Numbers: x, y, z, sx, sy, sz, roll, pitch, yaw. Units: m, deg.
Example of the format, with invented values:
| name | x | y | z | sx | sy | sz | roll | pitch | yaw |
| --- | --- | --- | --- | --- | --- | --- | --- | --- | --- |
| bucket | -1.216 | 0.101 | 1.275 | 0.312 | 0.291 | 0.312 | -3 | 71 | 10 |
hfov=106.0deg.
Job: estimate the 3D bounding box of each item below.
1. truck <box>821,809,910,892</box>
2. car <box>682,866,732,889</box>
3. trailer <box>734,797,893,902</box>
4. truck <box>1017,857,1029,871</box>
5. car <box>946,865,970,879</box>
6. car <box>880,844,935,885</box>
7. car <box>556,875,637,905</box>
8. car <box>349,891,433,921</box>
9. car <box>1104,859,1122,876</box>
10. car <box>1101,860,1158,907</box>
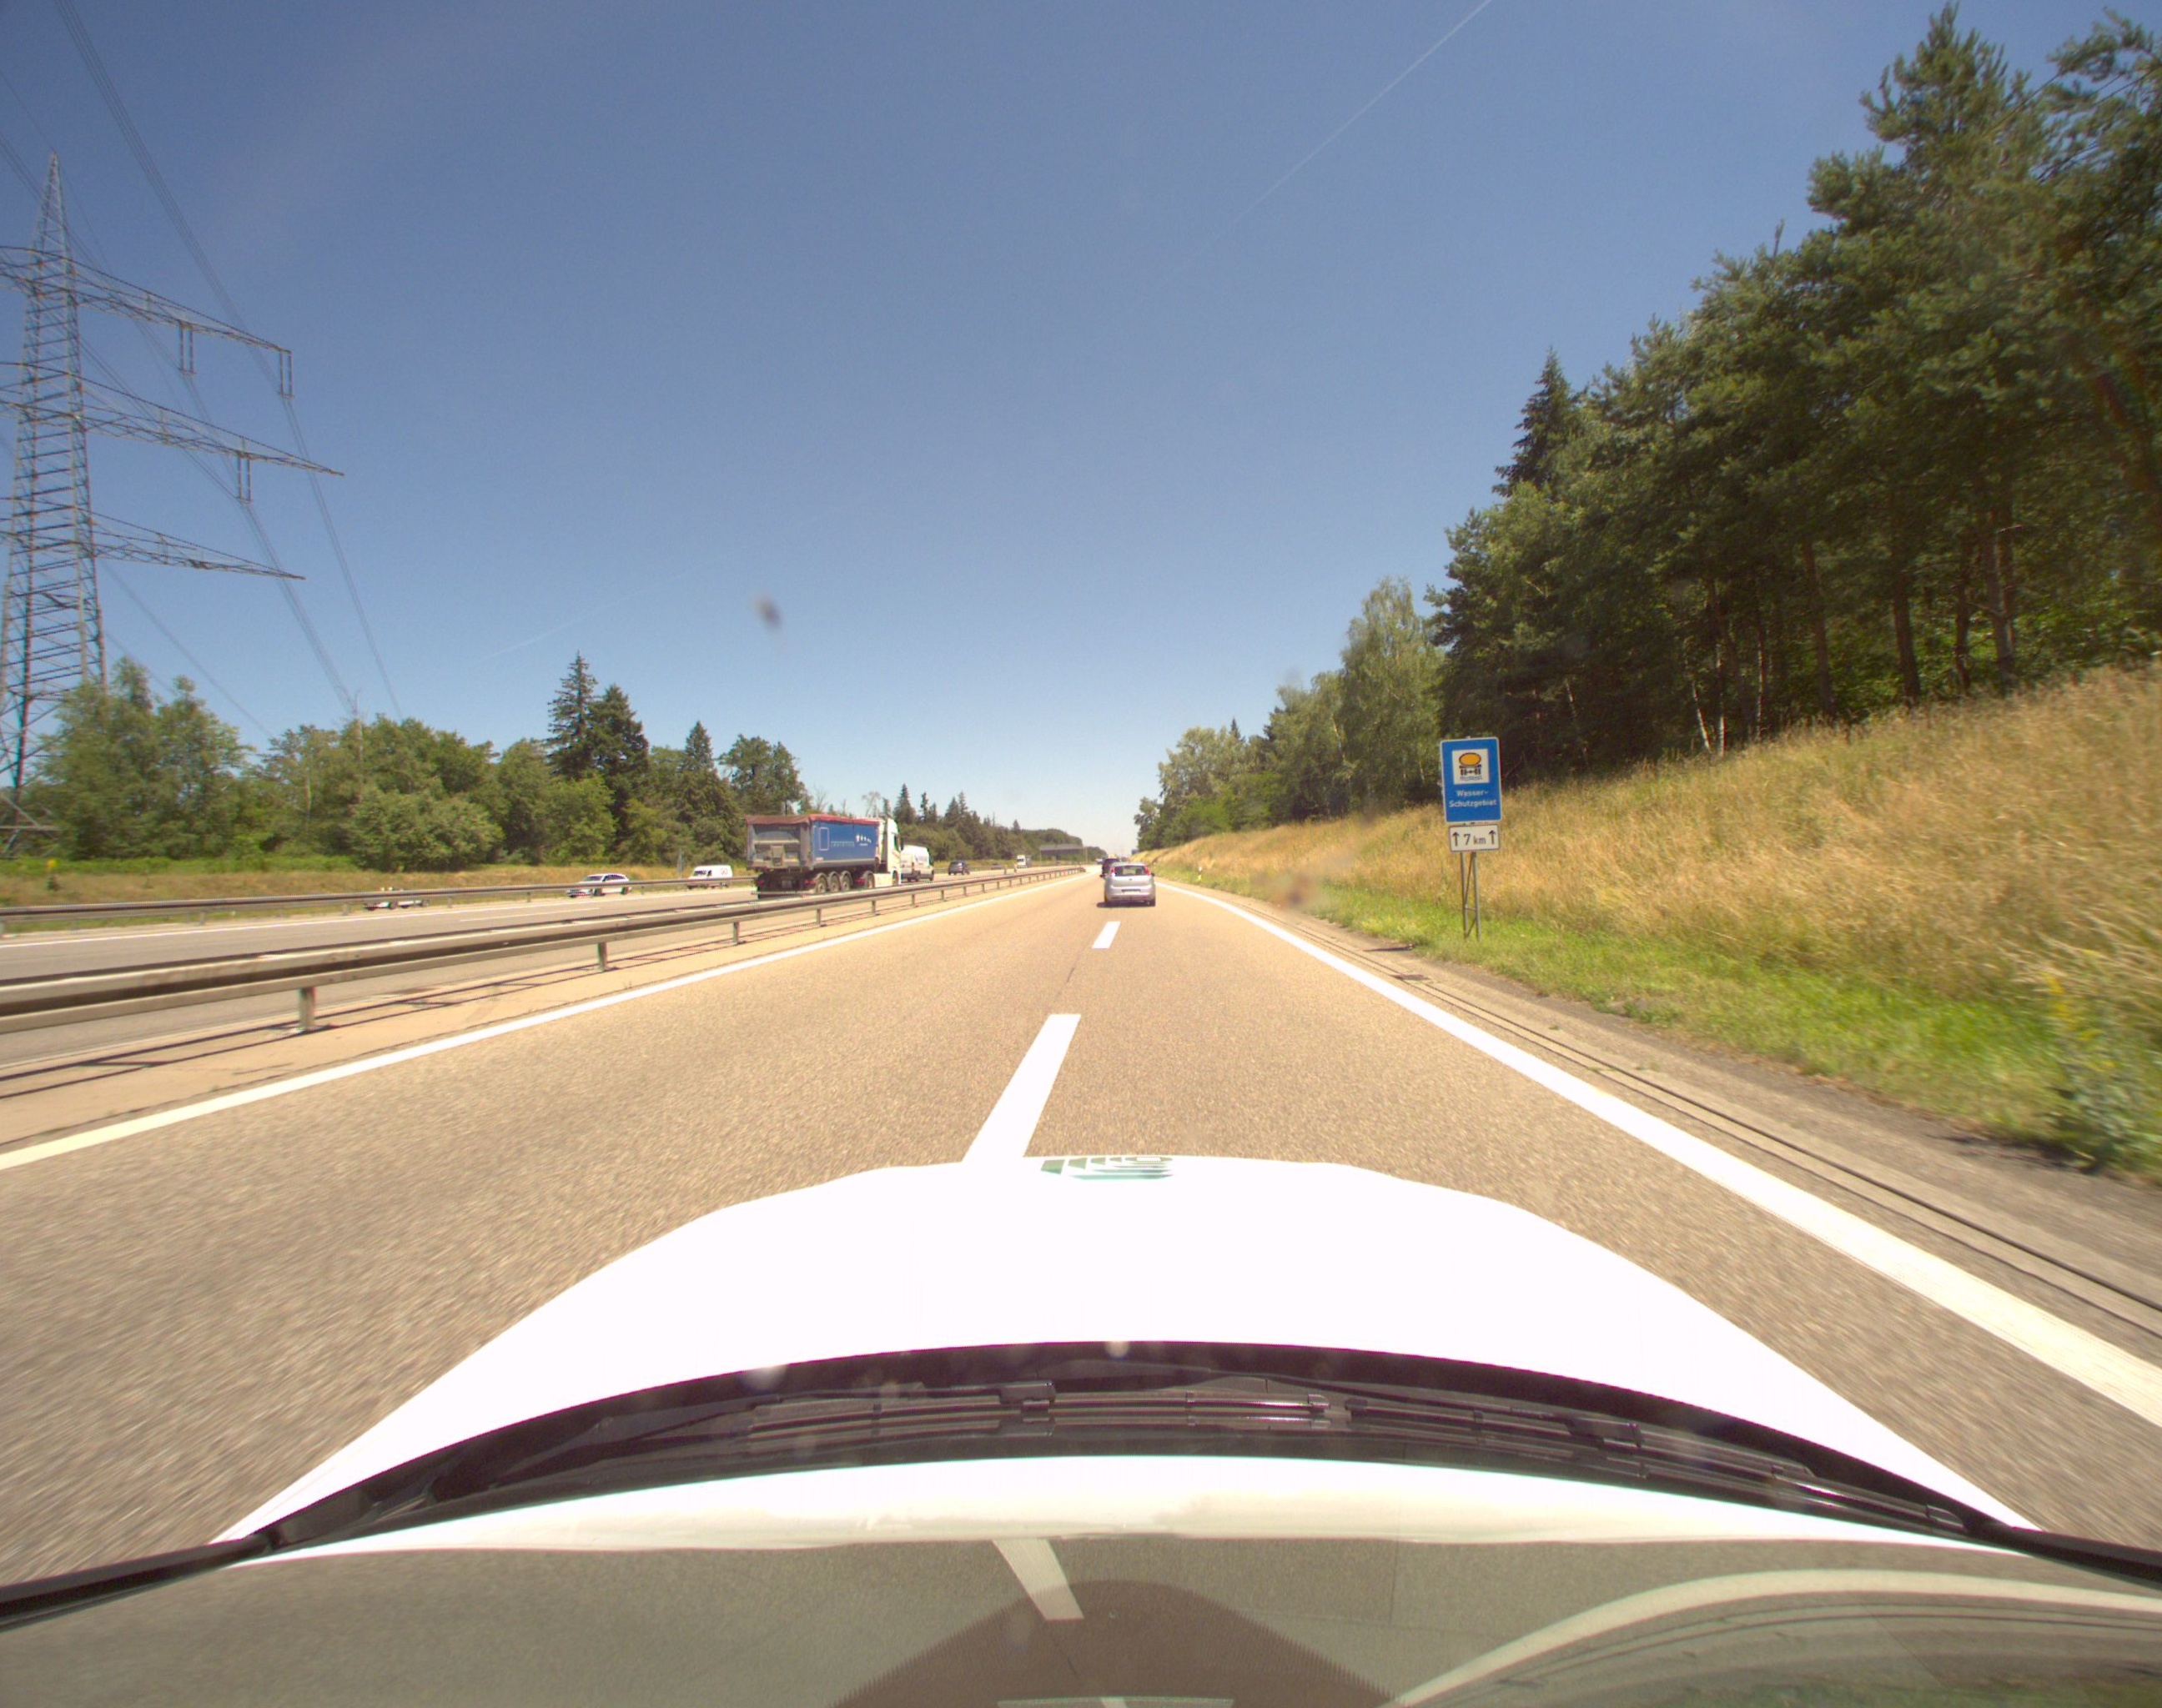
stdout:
| name | x | y | z | sx | sy | sz | roll | pitch | yaw |
| --- | --- | --- | --- | --- | --- | --- | --- | --- | --- |
| truck | -10.526 | -0.155 | 40.159 | 2.743 | 3.807 | 4.628 | -1 | 0 | 5 |
| car | -42.421 | 2.665 | 92.609 | 1.984 | 2.544 | 6.922 | -1 | -1 | 5 |
| trailer | -10.983 | -0.146 | 34.885 | 2.758 | 3.807 | 9.898 | -1 | 0 | 5 |
| truck | -18.498 | 3.234 | 260.205 | 2.573 | 4.127 | 9.335 | -1 | -2 | 5 |
| car | -14.052 | 2.070 | 93.450 | 1.986 | 1.618 | 4.001 | -1 | -2 | 2 |
| car | -13.292 | 0.864 | 62.815 | 2.622 | 2.897 | 6.477 | -1 | -2 | 2 |
| car | -31.187 | 2.260 | 52.633 | 1.983 | 1.783 | 4.820 | -1 | -1 | 6 |
| car | -46.806 | 3.512 | 55.353 | 1.983 | 1.783 | 4.007 | -1 | -1 | 7 |
| car | 3.172 | 1.354 | 81.801 | 1.700 | 1.676 | 3.398 | -1 | -2 | 1 |
| car | 1.577 | 0.962 | 27.638 | 1.701 | 1.482 | 3.396 | -1 | -1 | 0 |
